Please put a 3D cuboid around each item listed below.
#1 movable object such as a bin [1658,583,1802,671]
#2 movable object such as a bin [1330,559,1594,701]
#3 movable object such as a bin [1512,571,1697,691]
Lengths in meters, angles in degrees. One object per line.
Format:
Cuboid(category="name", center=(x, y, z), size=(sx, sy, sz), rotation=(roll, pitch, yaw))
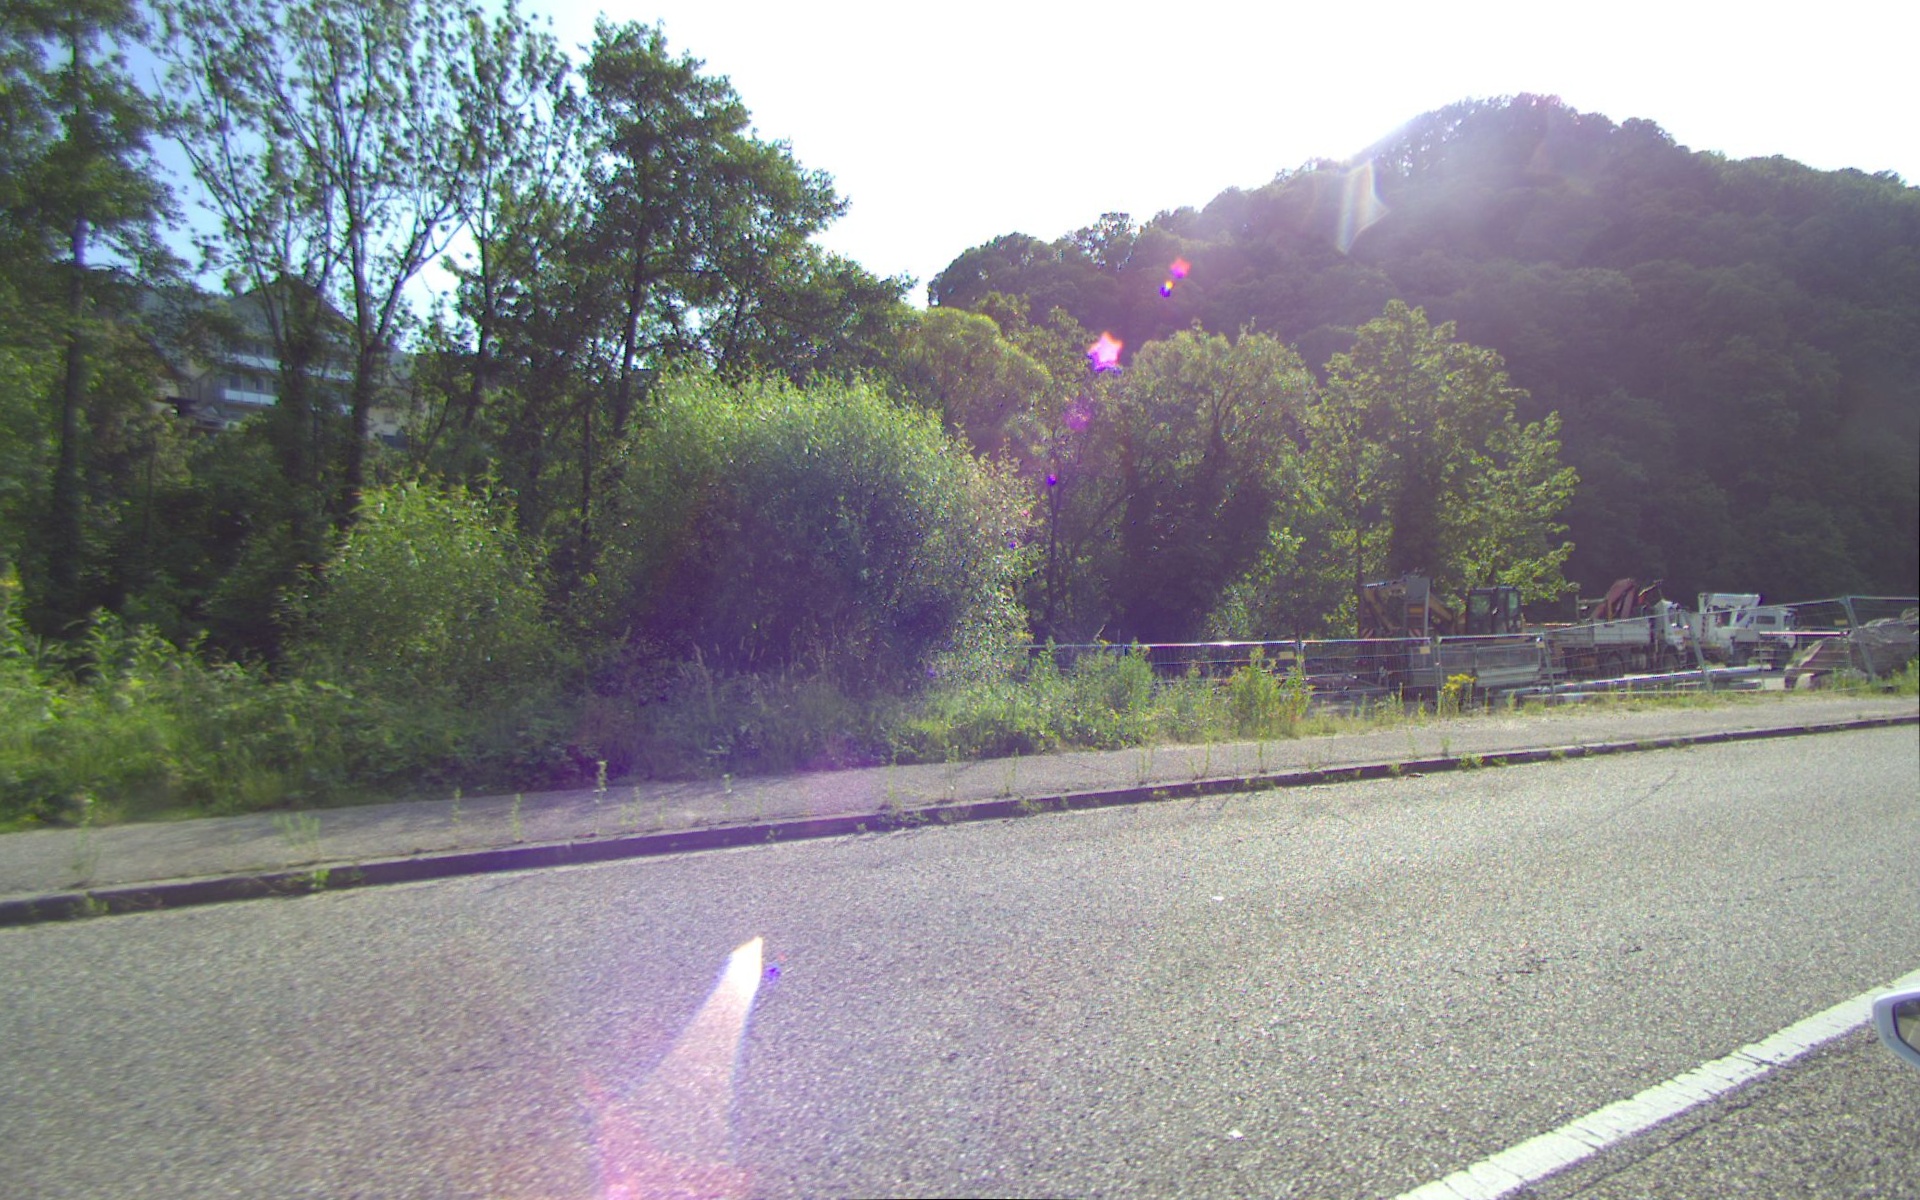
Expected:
Cuboid(category="movable object such as a bin", center=(37.588, 1.363, 48.976), size=(7.719, 3.999, 2.884), rotation=(2, -3, -31))
Cuboid(category="movable object such as a bin", center=(16.193, 1.004, 32.042), size=(9.877, 3.999, 2.686), rotation=(2, -3, -31))
Cuboid(category="movable object such as a bin", center=(23.461, 1.163, 36.484), size=(7.147, 3.999, 2.708), rotation=(2, -3, -31))
